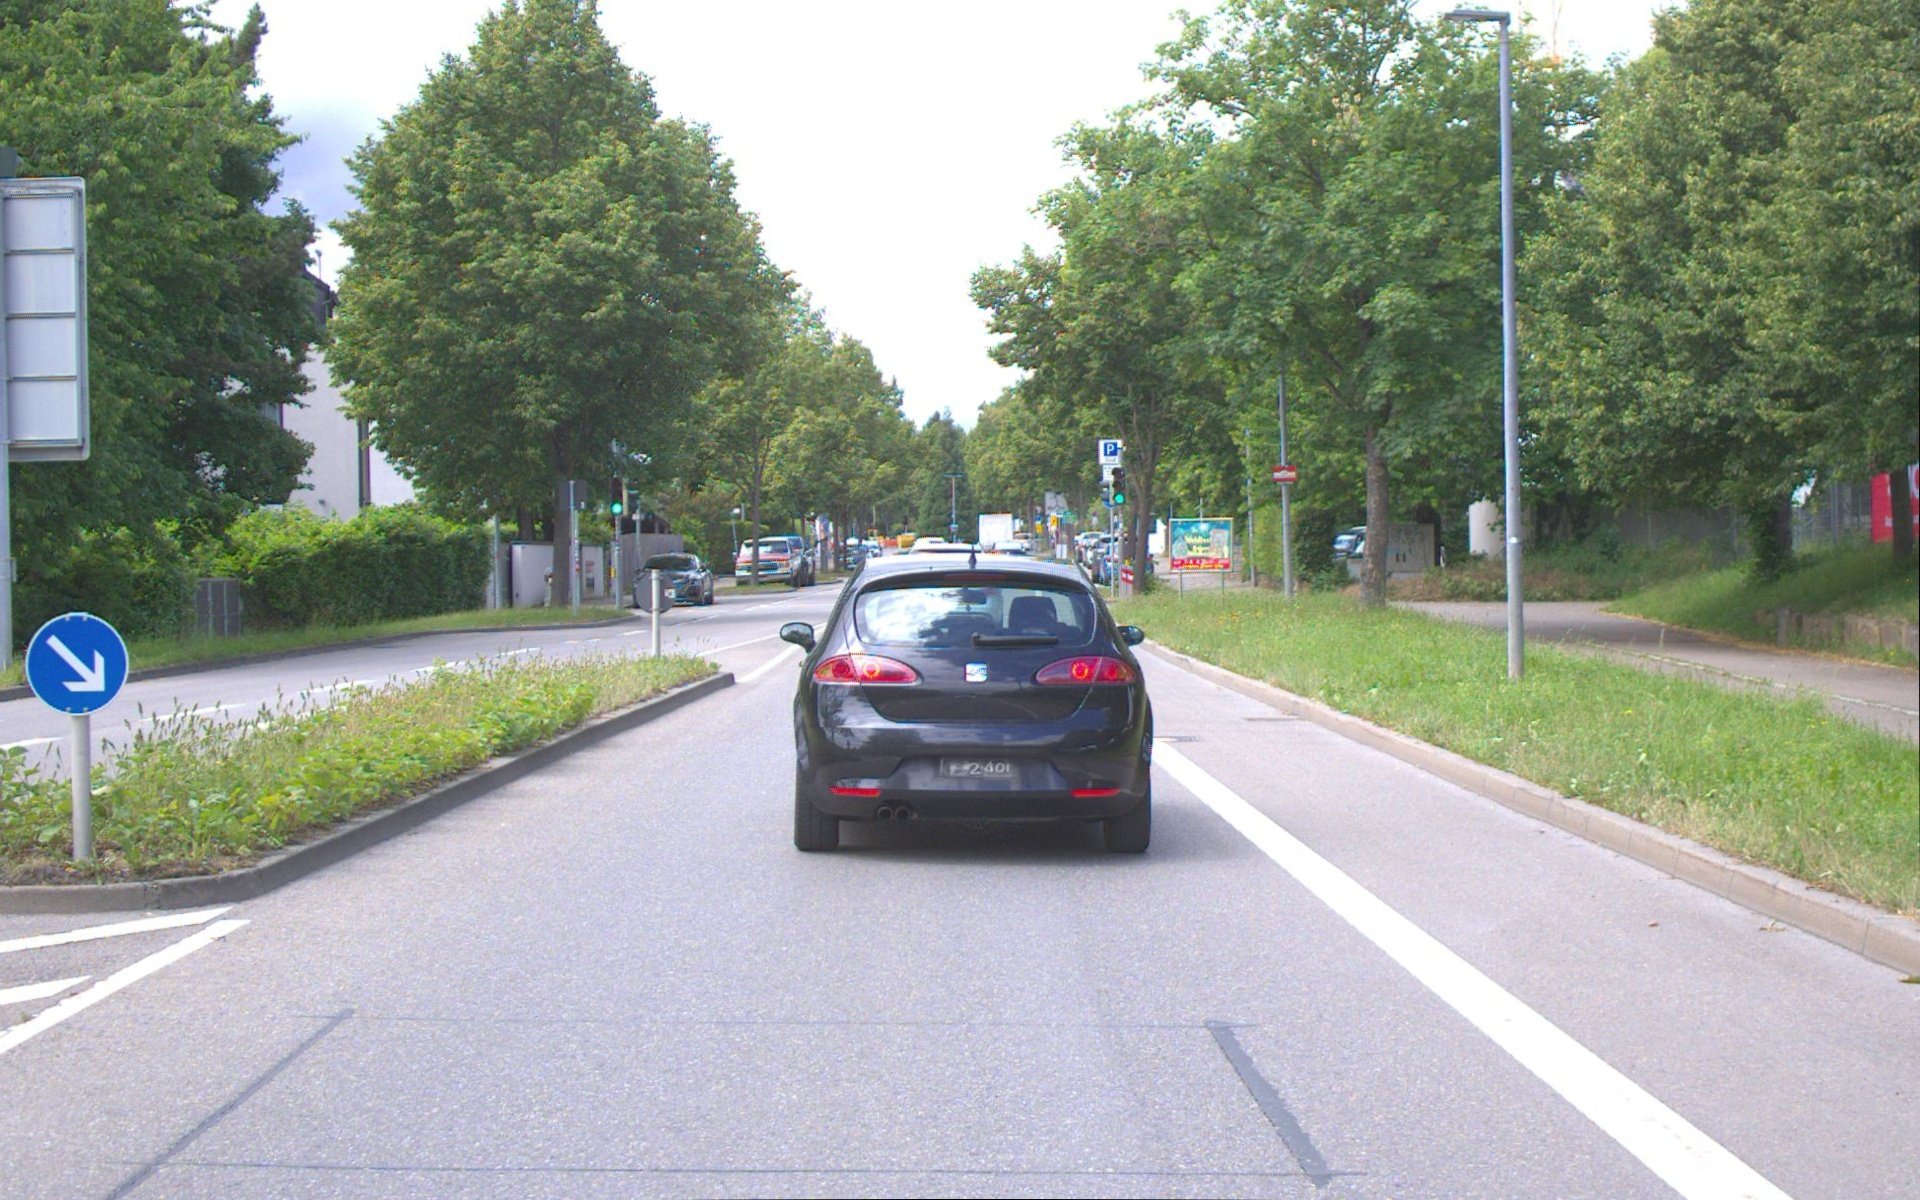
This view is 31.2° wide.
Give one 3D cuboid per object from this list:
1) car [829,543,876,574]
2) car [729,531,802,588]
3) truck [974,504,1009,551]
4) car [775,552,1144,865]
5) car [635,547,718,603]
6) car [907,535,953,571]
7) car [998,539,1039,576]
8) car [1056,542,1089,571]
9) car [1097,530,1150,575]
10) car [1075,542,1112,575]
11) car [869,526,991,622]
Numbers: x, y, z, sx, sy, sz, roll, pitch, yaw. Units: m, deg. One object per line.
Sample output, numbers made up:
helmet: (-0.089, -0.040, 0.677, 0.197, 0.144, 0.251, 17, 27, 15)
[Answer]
car: (-5.590, -2.186, 179.069, 2.100, 1.501, 5.784, -2, 1, 1)
car: (-6.852, -1.456, 121.810, 2.100, 1.890, 5.784, -2, 1, 1)
truck: (2.149, -4.953, 236.205, 2.279, 3.093, 8.511, 2, 0, 0)
car: (-0.010, 0.476, 17.675, 1.663, 1.396, 3.812, 1, 1, 0)
car: (-7.613, -0.693, 92.622, 1.718, 1.390, 4.801, -2, 1, 1)
car: (-1.443, -2.276, 166.152, 1.875, 1.629, 4.340, -2, 1, 3)
car: (2.736, -1.996, 160.935, 1.881, 1.683, 4.214, 0, 1, 1)
car: (6.171, -2.393, 188.979, 1.688, 1.559, 4.214, -2, 1, 1)
car: (5.495, -1.619, 116.049, 1.688, 1.485, 3.355, 0, 1, 1)
car: (6.361, -1.999, 164.421, 1.688, 1.559, 4.214, 0, 1, 1)
car: (-0.461, -0.440, 57.091, 1.846, 1.504, 3.811, 1, 1, 2)
